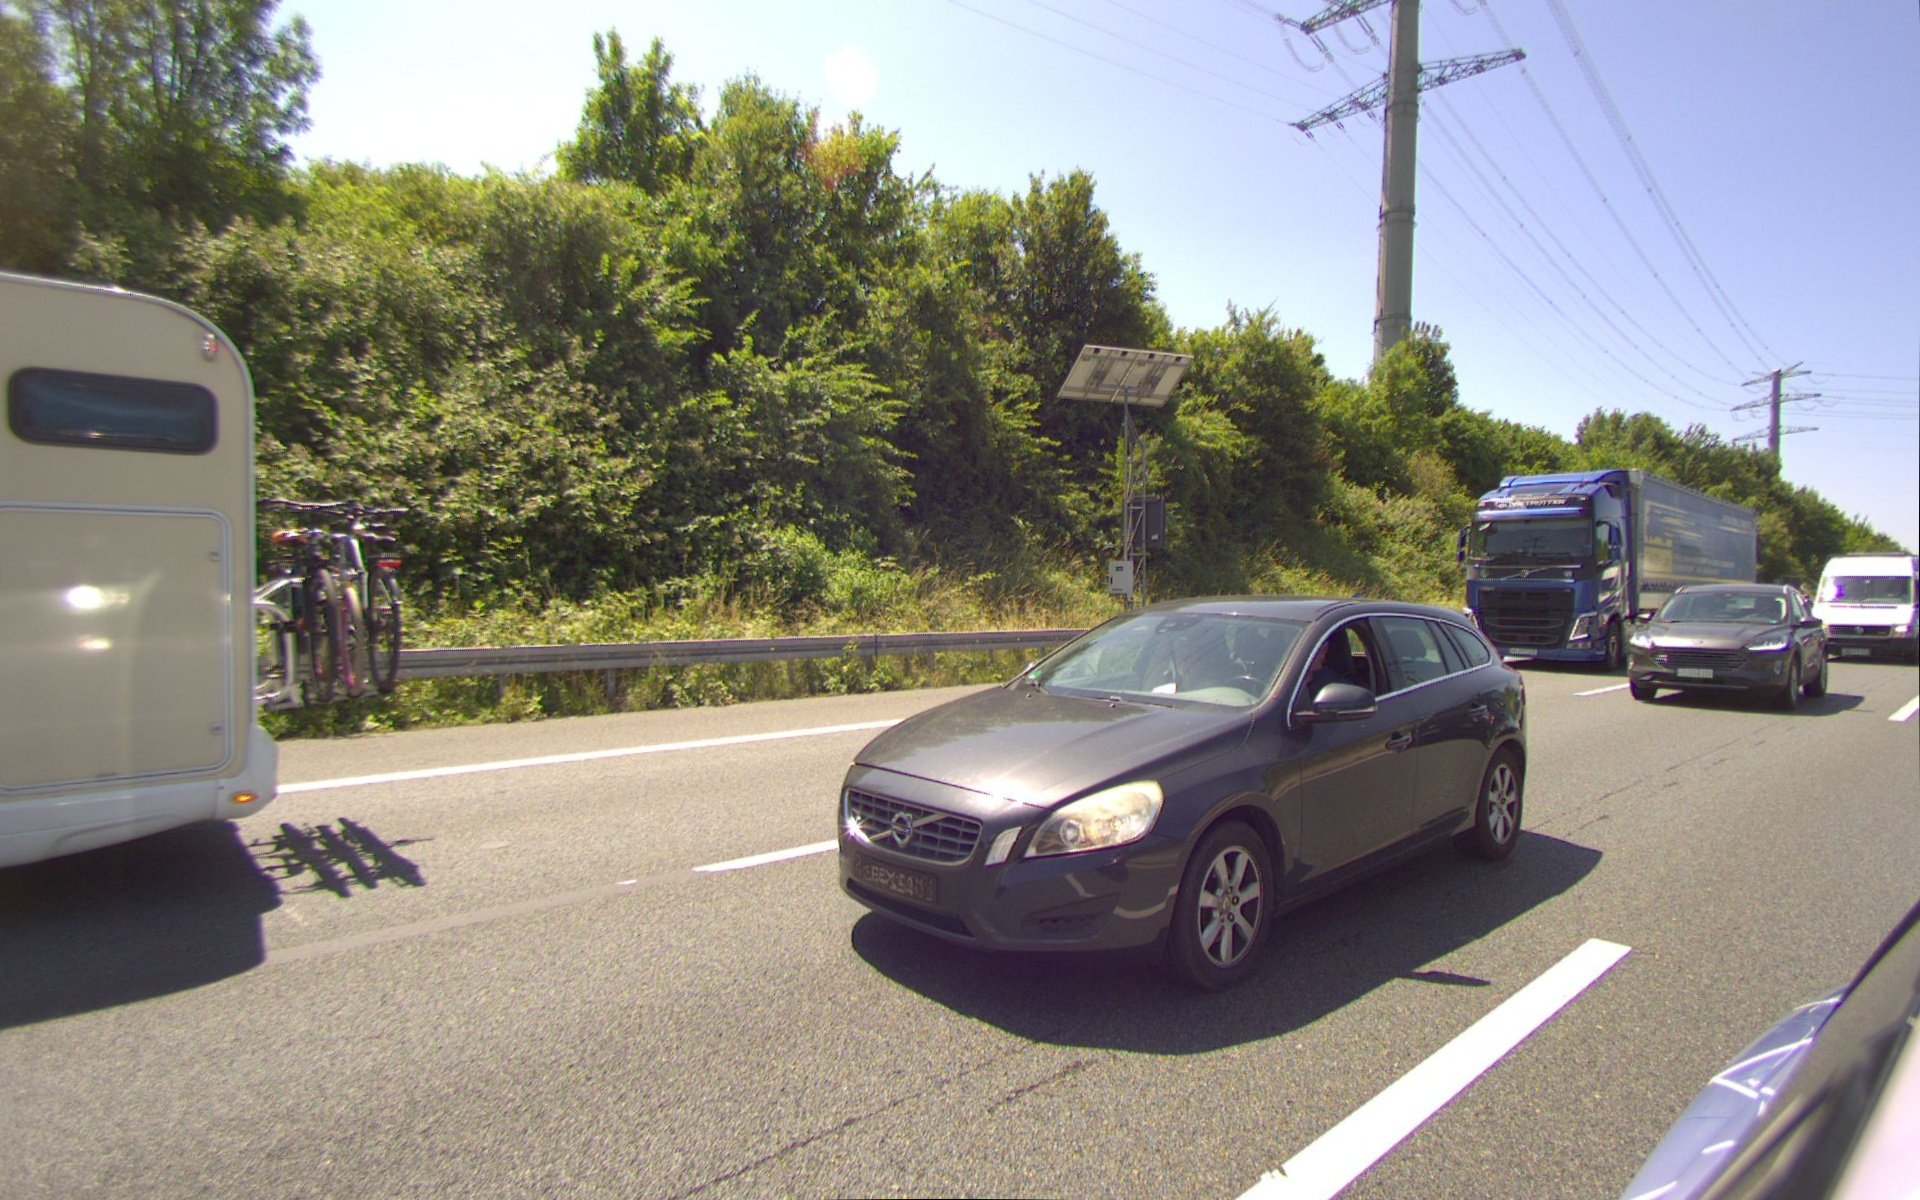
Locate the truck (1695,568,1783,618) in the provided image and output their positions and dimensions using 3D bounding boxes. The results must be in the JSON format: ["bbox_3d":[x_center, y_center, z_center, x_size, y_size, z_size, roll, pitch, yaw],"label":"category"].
[{"bbox_3d":[36.358,-0.326,47.187,5.630,2.195,2.251,-1,0,-42],"label":"truck"}]

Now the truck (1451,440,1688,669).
[{"bbox_3d":[13.003,-0.860,21.438,5.540,4.197,2.789,-1,0,-42],"label":"truck"}]

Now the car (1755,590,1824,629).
[{"bbox_3d":[35.222,0.373,42.945,3.807,1.538,1.718,-1,0,-42],"label":"car"}]

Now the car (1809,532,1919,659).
[{"bbox_3d":[22.714,-0.143,24.810,6.591,2.753,2.040,-1,0,-42],"label":"car"}]

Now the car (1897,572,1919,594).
[{"bbox_3d":[67.471,-1.206,71.376,3.807,1.538,1.718,-1,0,-42],"label":"car"}]

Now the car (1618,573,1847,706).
[{"bbox_3d":[11.156,0.463,14.508,4.148,1.631,1.891,-1,0,-42],"label":"car"}]

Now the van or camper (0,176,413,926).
[{"bbox_3d":[-6.372,-0.179,3.566,7.501,3.082,2.372,-1,0,-42],"label":"van or camper"}]

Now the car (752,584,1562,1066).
[{"bbox_3d":[1.338,0.647,5.193,4.433,1.437,1.797,-1,0,-42],"label":"car"}]

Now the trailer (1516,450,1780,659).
[{"bbox_3d":[18.238,-1.018,26.219,12.659,4.317,2.771,-1,0,-42],"label":"trailer"}]
